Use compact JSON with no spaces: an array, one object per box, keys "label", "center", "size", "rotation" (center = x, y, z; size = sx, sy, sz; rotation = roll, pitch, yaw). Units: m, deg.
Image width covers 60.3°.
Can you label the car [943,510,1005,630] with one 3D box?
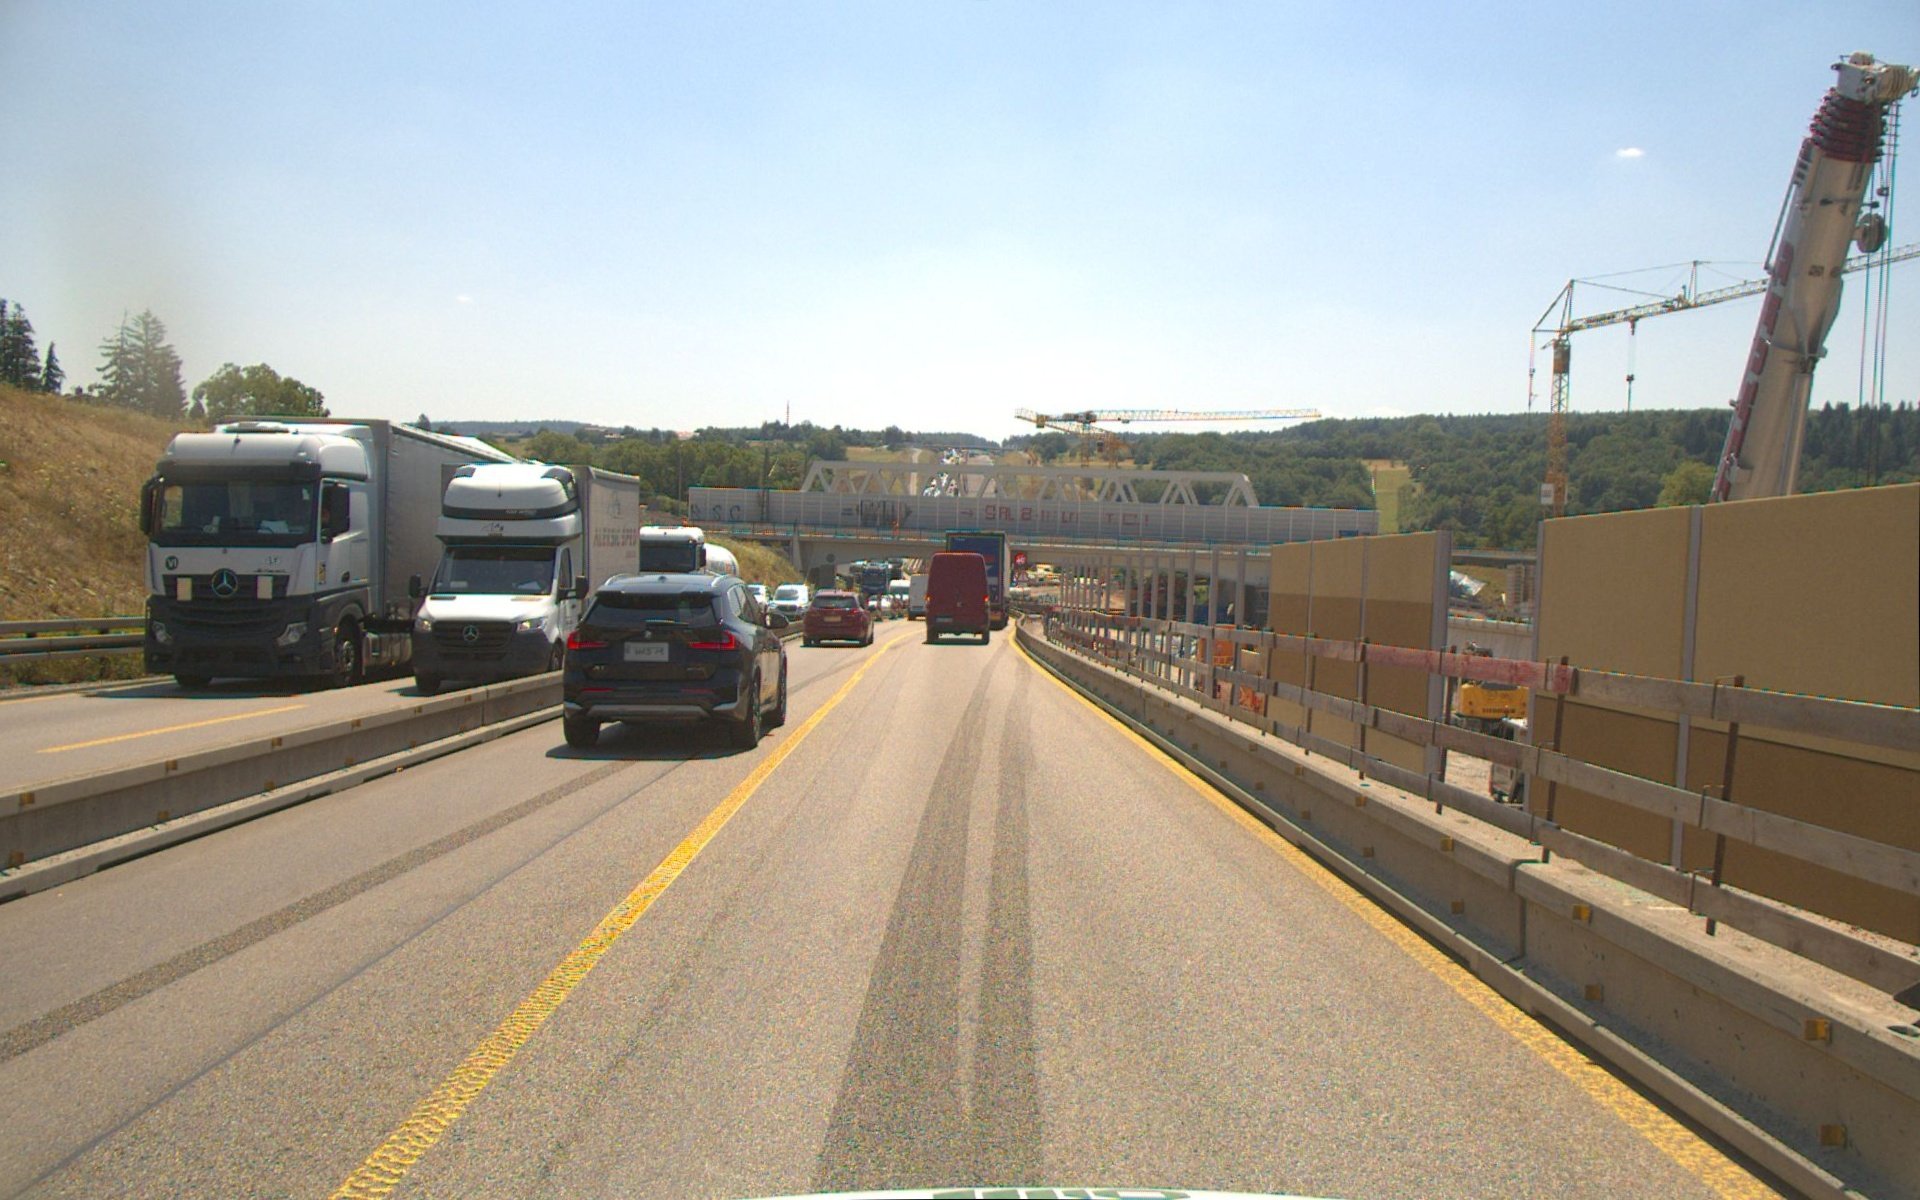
[{"label":"car","center":[0.552,-1.335,75.679],"size":[2.568,5.120,10.395],"rotation":[0,1,-1]}]

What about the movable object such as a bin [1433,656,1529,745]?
[{"label":"movable object such as a bin","center":[20.579,3.925,65.597],"size":[2.233,3.076,4.821],"rotation":[3,0,1]}]

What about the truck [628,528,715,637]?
[{"label":"truck","center":[-10.673,-0.659,61.426],"size":[2.537,3.868,3.766],"rotation":[1,0,-1]}]

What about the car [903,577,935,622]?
[{"label":"car","center":[-2.303,-0.035,93.539],"size":[1.740,2.484,4.205],"rotation":[0,1,-1]}]

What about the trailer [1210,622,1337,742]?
[{"label":"trailer","center":[12.292,3.044,66.103],"size":[2.702,3.954,13.050],"rotation":[1,1,1]}]

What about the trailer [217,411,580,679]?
[{"label":"trailer","center":[-10.243,-0.913,32.410],"size":[2.643,4.094,13.699],"rotation":[1,1,-1]}]

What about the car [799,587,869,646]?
[{"label":"car","center":[-3.458,0.425,45.905],"size":[1.740,1.544,4.205],"rotation":[0,1,-2]}]

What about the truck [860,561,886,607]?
[{"label":"truck","center":[-7.982,-1.478,152.208],"size":[2.310,4.085,3.998],"rotation":[1,0,-2]}]

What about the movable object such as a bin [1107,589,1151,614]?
[{"label":"movable object such as a bin","center":[19.784,0.177,193.353],"size":[5.038,2.856,2.144],"rotation":[1,0,5]}]

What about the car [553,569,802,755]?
[{"label":"car","center":[-2.728,0.529,16.968],"size":[1.841,1.646,4.498],"rotation":[0,1,-1]}]

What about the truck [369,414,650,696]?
[{"label":"truck","center":[-6.857,-0.652,26.346],"size":[2.537,3.824,7.357],"rotation":[1,0,-1]}]

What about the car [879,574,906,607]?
[{"label":"car","center":[-5.608,-0.793,138.418],"size":[1.953,2.652,7.010],"rotation":[1,1,0]}]

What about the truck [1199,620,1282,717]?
[{"label":"truck","center":[12.412,2.972,73.646],"size":[2.702,3.954,5.882],"rotation":[1,0,1]}]

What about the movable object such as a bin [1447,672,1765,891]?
[{"label":"movable object such as a bin","center":[13.510,3.620,35.694],"size":[2.906,3.548,9.149],"rotation":[3,0,-2]}]

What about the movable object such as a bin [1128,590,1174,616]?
[{"label":"movable object such as a bin","center":[21.707,0.292,188.179],"size":[5.038,2.856,2.144],"rotation":[1,0,5]}]

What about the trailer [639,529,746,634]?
[{"label":"trailer","center":[-10.753,-0.755,67.742],"size":[2.537,3.868,11.916],"rotation":[1,1,-1]}]

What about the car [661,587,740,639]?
[{"label":"car","center":[-7.901,0.366,50.713],"size":[1.743,1.483,4.719],"rotation":[1,0,-2]}]

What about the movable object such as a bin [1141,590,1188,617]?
[{"label":"movable object such as a bin","center":[22.489,0.354,181.908],"size":[5.038,2.856,2.144],"rotation":[1,0,5]}]

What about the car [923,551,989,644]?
[{"label":"car","center":[-0.111,-0.105,51.162],"size":[1.948,2.737,4.623],"rotation":[0,1,0]}]

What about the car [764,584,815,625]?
[{"label":"car","center":[-7.677,0.180,74.881],"size":[1.841,1.775,4.482],"rotation":[0,1,0]}]

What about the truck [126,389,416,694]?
[{"label":"truck","center":[-10.102,-0.820,24.673],"size":[2.643,4.120,3.954],"rotation":[1,0,-1]}]

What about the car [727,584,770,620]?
[{"label":"car","center":[-10.979,0.083,85.952],"size":[1.754,1.793,4.536],"rotation":[0,1,-2]}]
